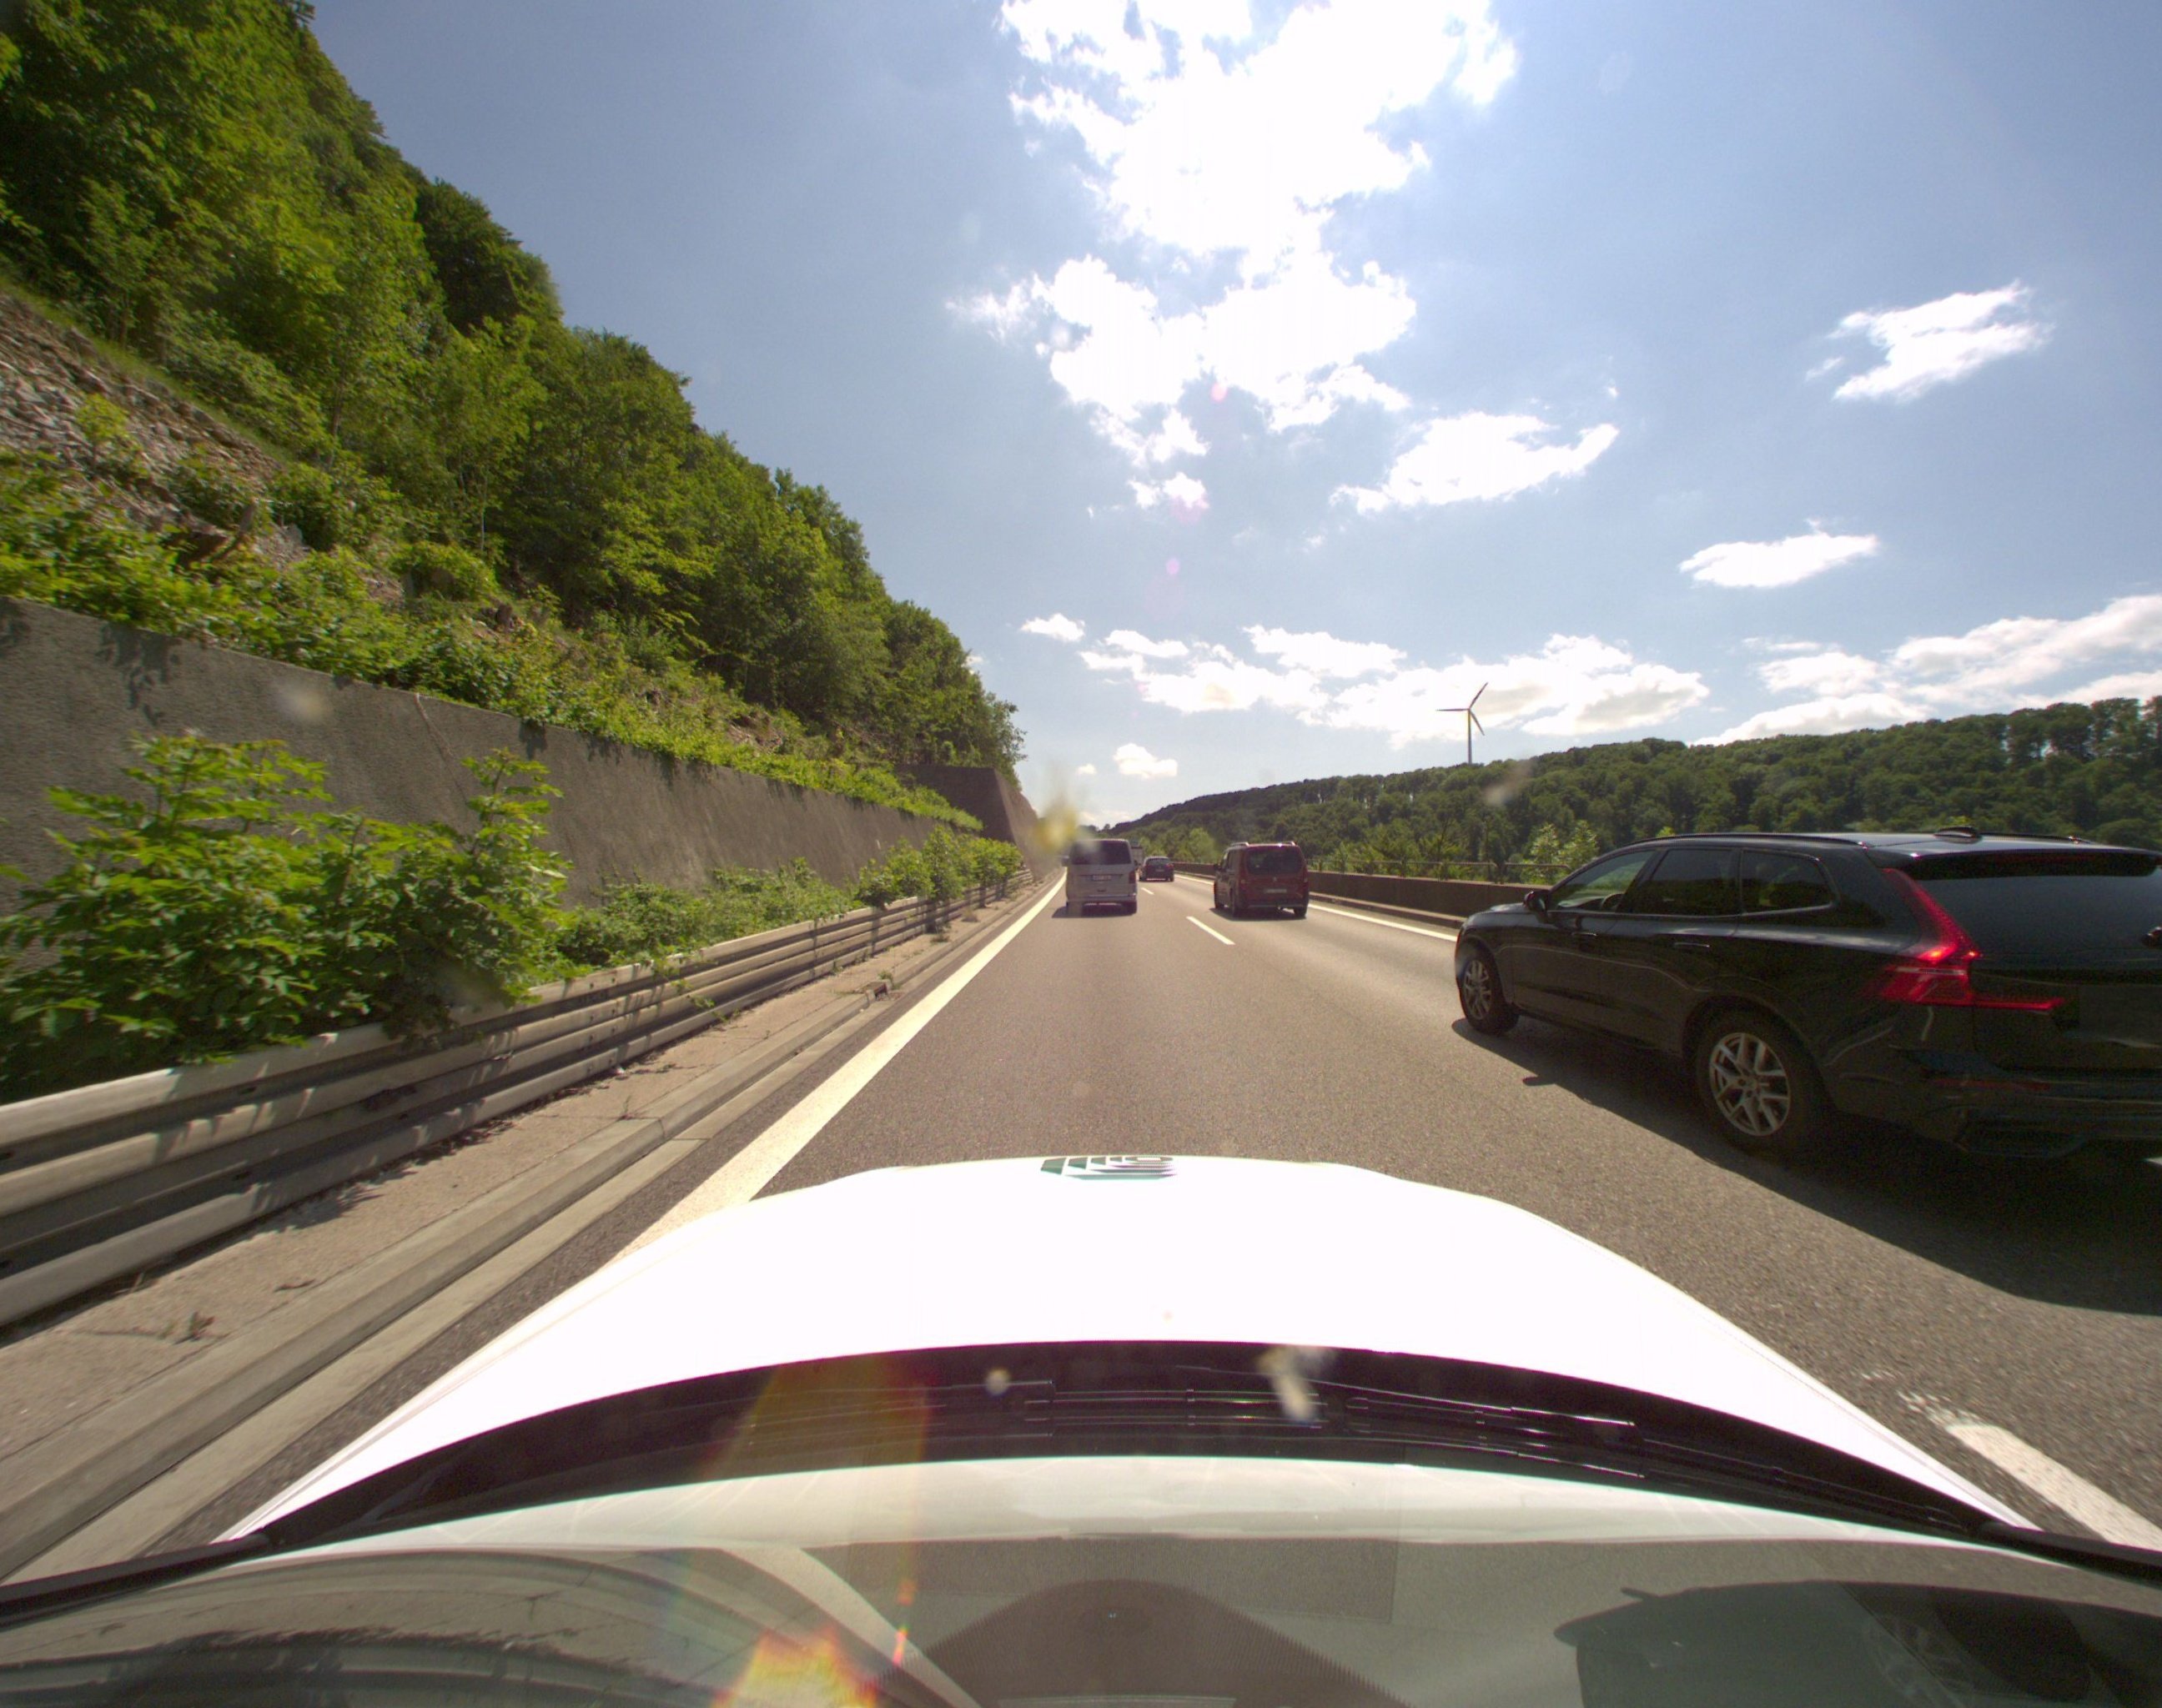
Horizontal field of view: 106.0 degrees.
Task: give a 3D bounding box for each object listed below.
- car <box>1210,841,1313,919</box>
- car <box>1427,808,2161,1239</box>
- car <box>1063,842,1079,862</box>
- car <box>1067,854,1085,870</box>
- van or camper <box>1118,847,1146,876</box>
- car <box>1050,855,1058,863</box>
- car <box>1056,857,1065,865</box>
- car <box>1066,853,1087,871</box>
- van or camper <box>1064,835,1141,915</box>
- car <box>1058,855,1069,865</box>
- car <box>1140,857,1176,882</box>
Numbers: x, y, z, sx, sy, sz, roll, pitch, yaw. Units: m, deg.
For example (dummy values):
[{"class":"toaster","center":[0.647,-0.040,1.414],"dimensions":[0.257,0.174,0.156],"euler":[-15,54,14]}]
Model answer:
[{"class":"car","center":[4.602,0.637,21.467],"dimensions":[1.826,1.784,4.678],"euler":[-1,-1,2]},{"class":"car","center":[4.172,0.644,5.445],"dimensions":[1.828,1.633,4.663],"euler":[-1,0,1]},{"class":"car","center":[-2.634,-0.436,211.695],"dimensions":[4.032,4.871,10.102],"euler":[-1,0,-2]},{"class":"car","center":[-0.590,0.981,102.476],"dimensions":[1.986,1.915,4.002],"euler":[-1,0,2]},{"class":"van or camper","center":[4.736,0.670,76.224],"dimensions":[2.257,2.551,4.734],"euler":[-2,0,-1]},{"class":"car","center":[-6.874,1.265,205.907],"dimensions":[1.841,1.750,3.996],"euler":[-1,0,-2]},{"class":"car","center":[-4.603,1.461,183.654],"dimensions":[1.840,1.750,3.999],"euler":[-1,0,0]},{"class":"car","center":[-0.498,0.855,86.875],"dimensions":[1.989,1.817,3.996],"euler":[-1,0,-3]},{"class":"van or camper","center":[0.563,0.555,22.649],"dimensions":[1.869,1.949,4.293],"euler":[-2,-1,0]},{"class":"car","center":[-3.475,1.227,165.161],"dimensions":[1.987,2.014,4.000],"euler":[-2,-1,0]},{"class":"car","center":[4.439,0.862,47.353],"dimensions":[1.762,1.376,3.593],"euler":[-1,0,1]}]
